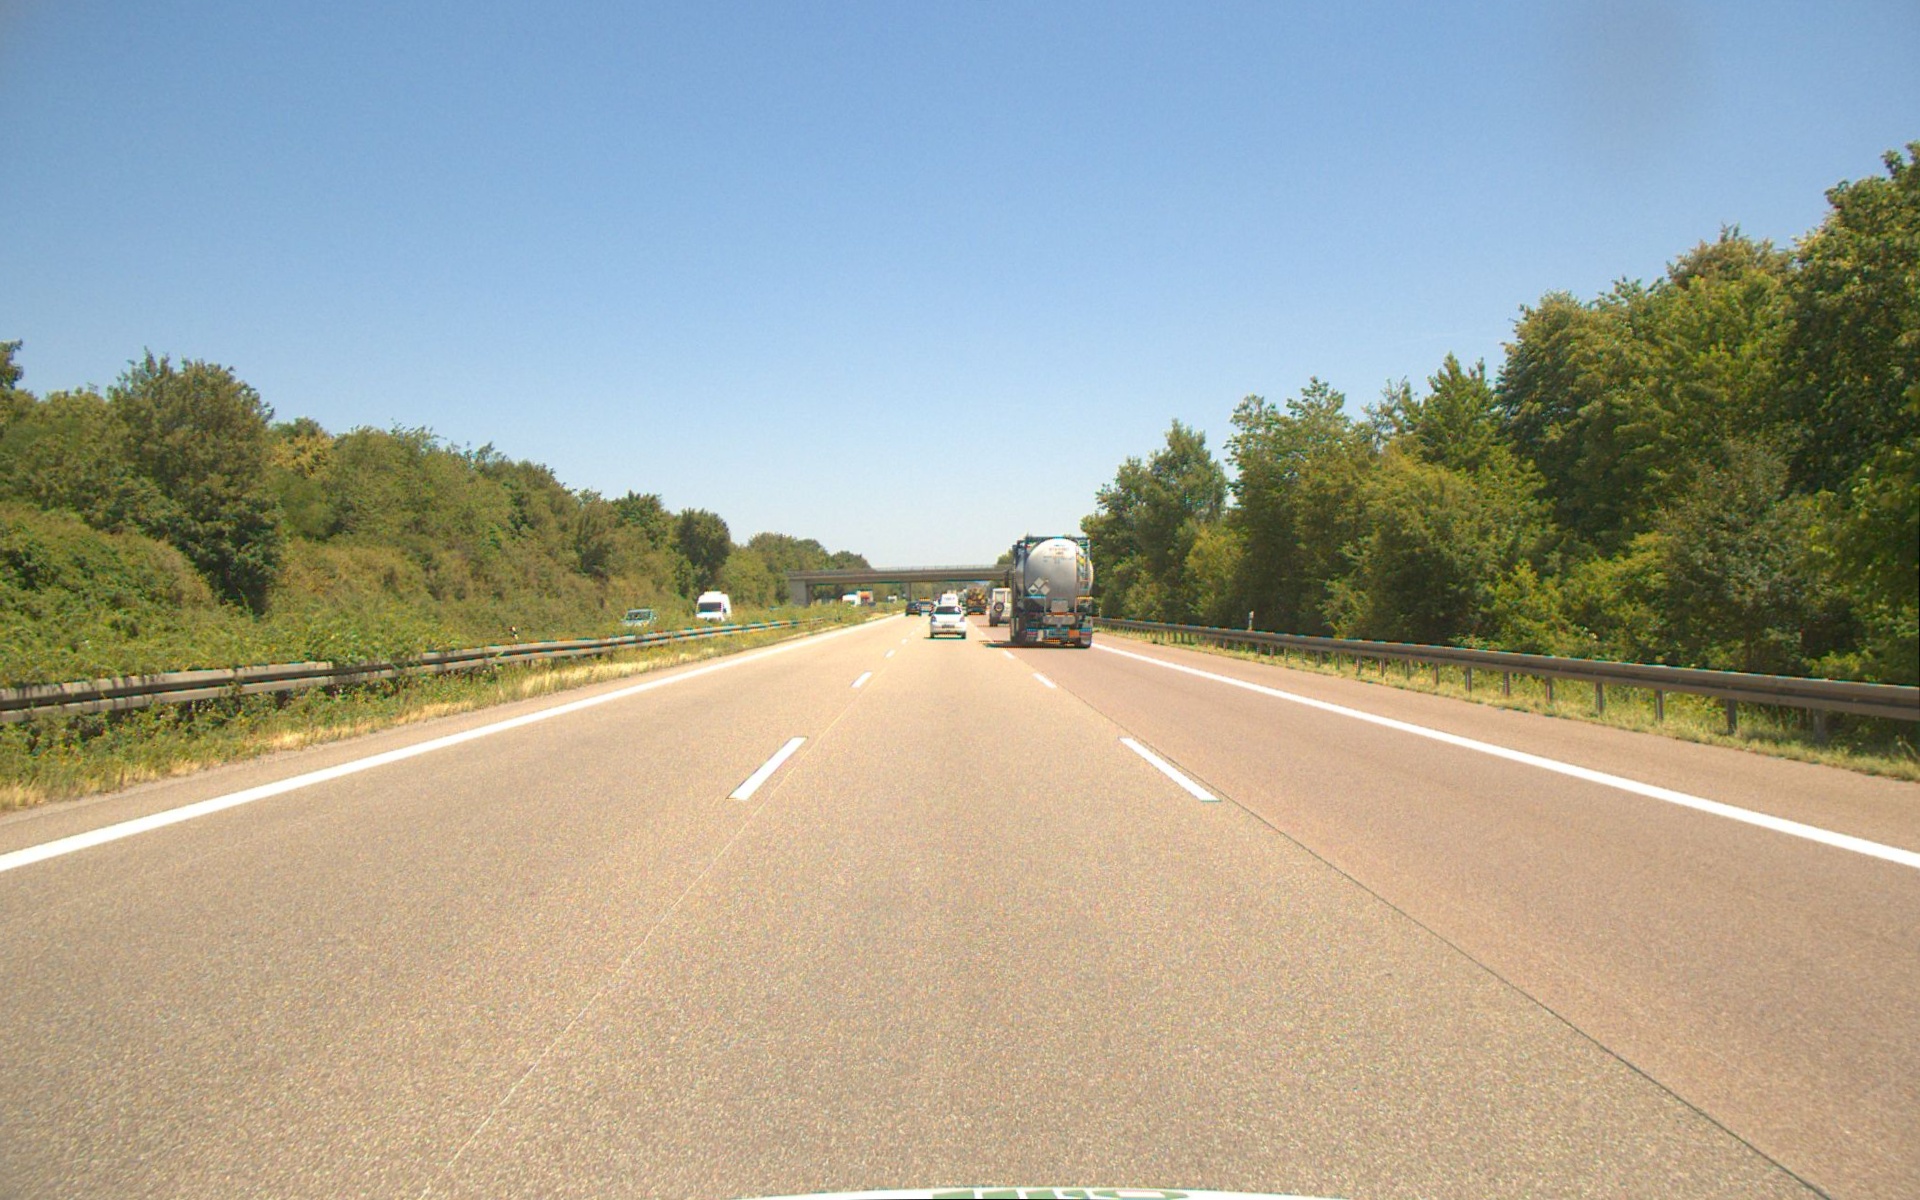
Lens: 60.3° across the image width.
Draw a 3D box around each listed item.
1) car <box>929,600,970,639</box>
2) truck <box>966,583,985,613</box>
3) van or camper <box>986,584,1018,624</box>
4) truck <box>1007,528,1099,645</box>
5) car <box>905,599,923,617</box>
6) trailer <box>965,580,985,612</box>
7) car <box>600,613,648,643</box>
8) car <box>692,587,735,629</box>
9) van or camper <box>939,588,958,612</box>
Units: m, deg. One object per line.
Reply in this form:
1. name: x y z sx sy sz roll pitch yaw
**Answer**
1. car: -0.502 0.885 76.303 1.819 1.681 3.999 1 0 -1
2. truck: 2.115 -0.306 226.184 2.615 4.064 6.636 0 0 1
3. van or camper: 2.947 0.296 117.272 2.070 2.750 6.366 0 0 0
4. truck: 3.496 -0.458 65.507 2.741 4.117 13.352 1 0 0
5. car: -5.412 0.935 195.811 2.010 2.049 4.175 1 0 -1
6. trailer: 2.029 -0.485 218.953 2.598 4.028 13.637 0 0 1
7. car: -17.917 1.489 88.368 1.706 1.534 4.415 1 0 -1
8. car: -17.330 0.535 116.572 1.994 2.794 6.657 -2 0 -1
9. van or camper: -1.307 0.027 185.540 2.016 2.668 5.985 0 0 1
